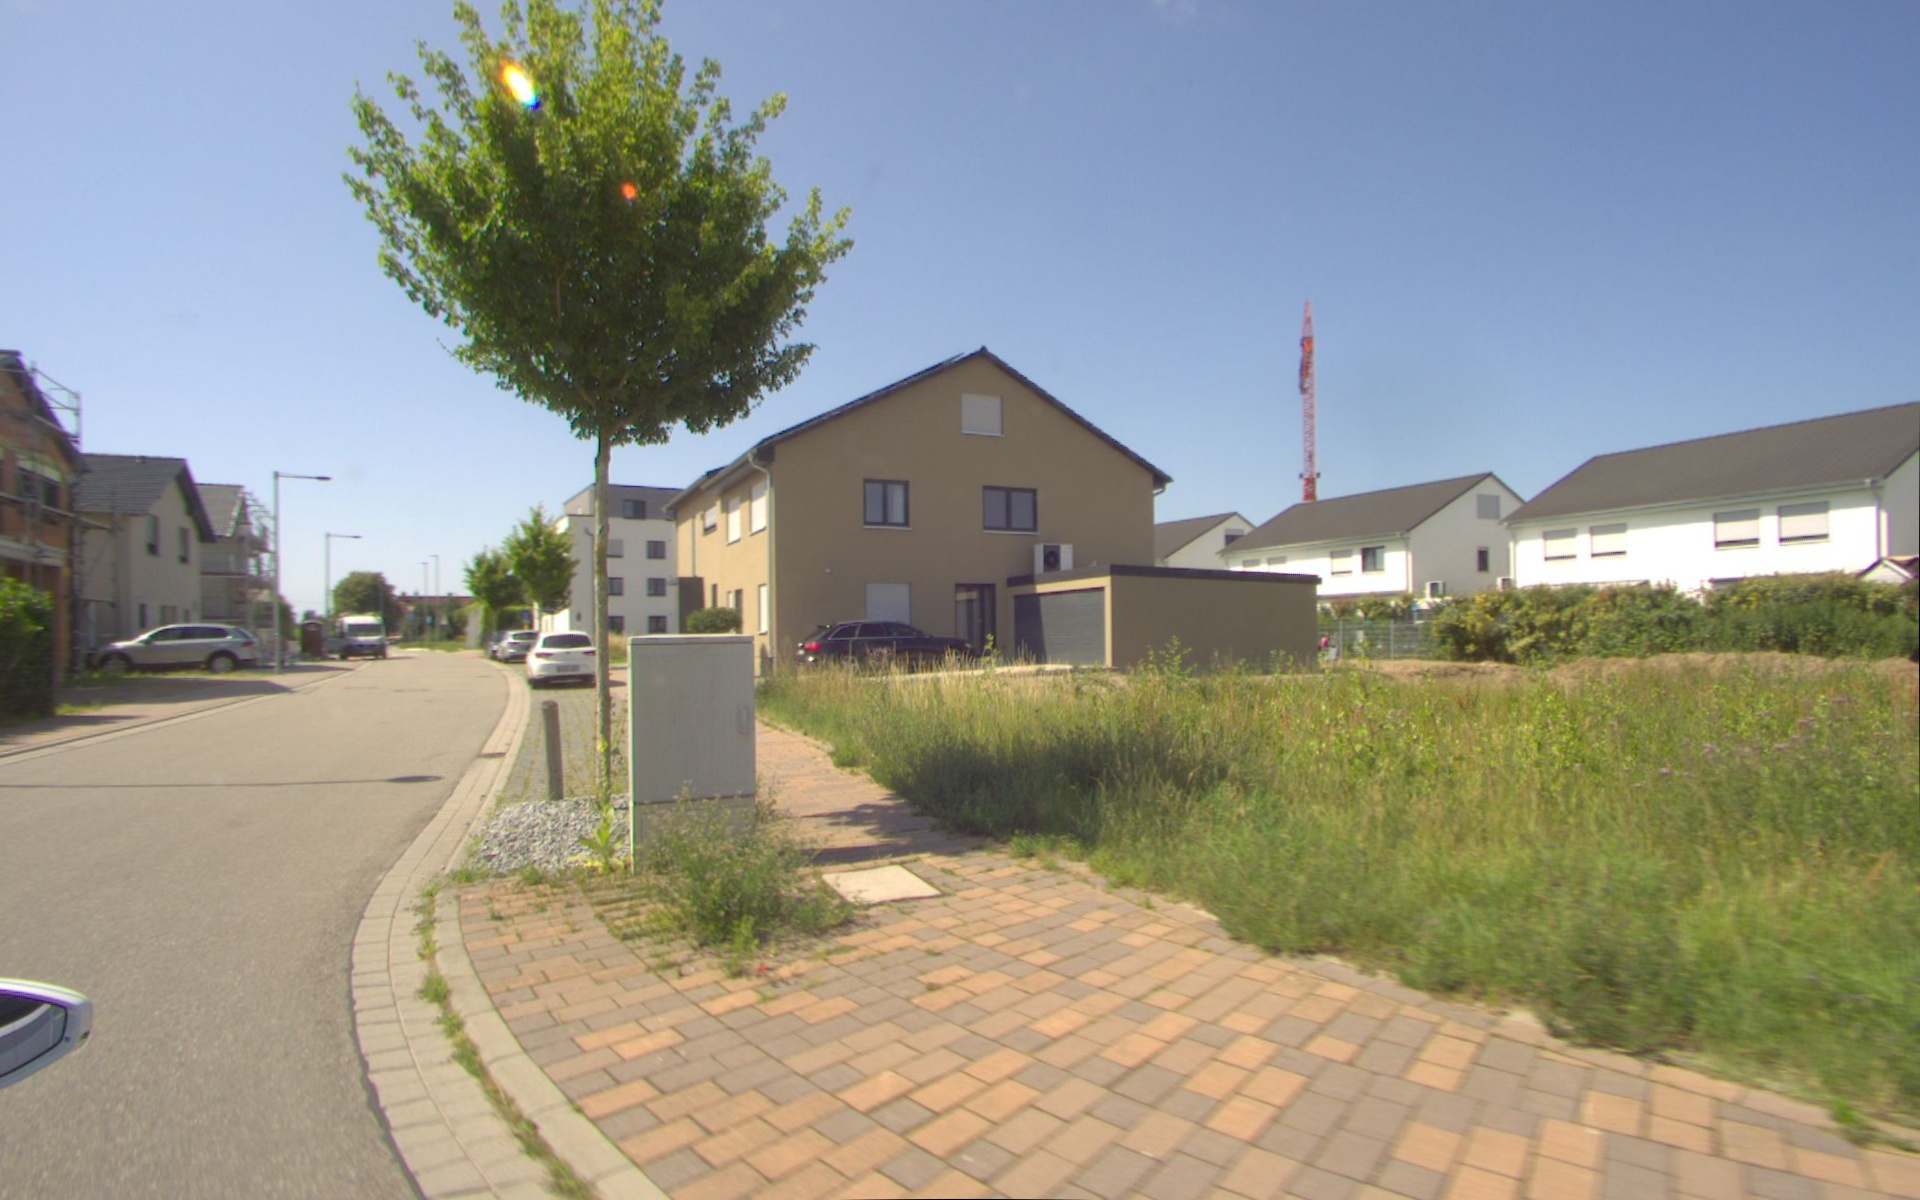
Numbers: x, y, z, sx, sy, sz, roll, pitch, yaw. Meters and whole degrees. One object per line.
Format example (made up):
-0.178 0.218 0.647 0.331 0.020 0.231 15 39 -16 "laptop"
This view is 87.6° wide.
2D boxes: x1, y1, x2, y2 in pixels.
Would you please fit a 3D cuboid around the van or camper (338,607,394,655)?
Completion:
-33.875 1.799 56.998 2.251 2.585 6.326 0 -2 -35 "van or camper"

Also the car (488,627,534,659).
-23.545 2.196 52.427 1.895 1.489 5.117 -1 0 -28 "car"

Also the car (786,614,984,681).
-1.977 1.204 26.476 4.823 1.444 1.994 -2 0 -24 "car"

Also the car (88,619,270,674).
-25.143 1.467 32.482 4.375 1.633 1.990 0 -1 -30 "car"

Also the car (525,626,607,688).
-10.780 1.493 27.224 1.791 1.475 4.549 -1 -1 -25 "car"

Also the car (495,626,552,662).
-20.610 2.021 47.149 1.896 1.531 5.269 -1 0 -29 "car"

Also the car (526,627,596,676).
-13.228 1.640 33.042 1.758 1.444 4.496 -1 0 -26 "car"

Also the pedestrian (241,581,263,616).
-35.913 -0.068 50.806 0.568 1.700 0.747 -2 -2 18 "pedestrian"

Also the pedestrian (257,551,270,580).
-38.125 -1.884 54.832 0.555 1.518 0.745 0 -3 -32 "pedestrian"
